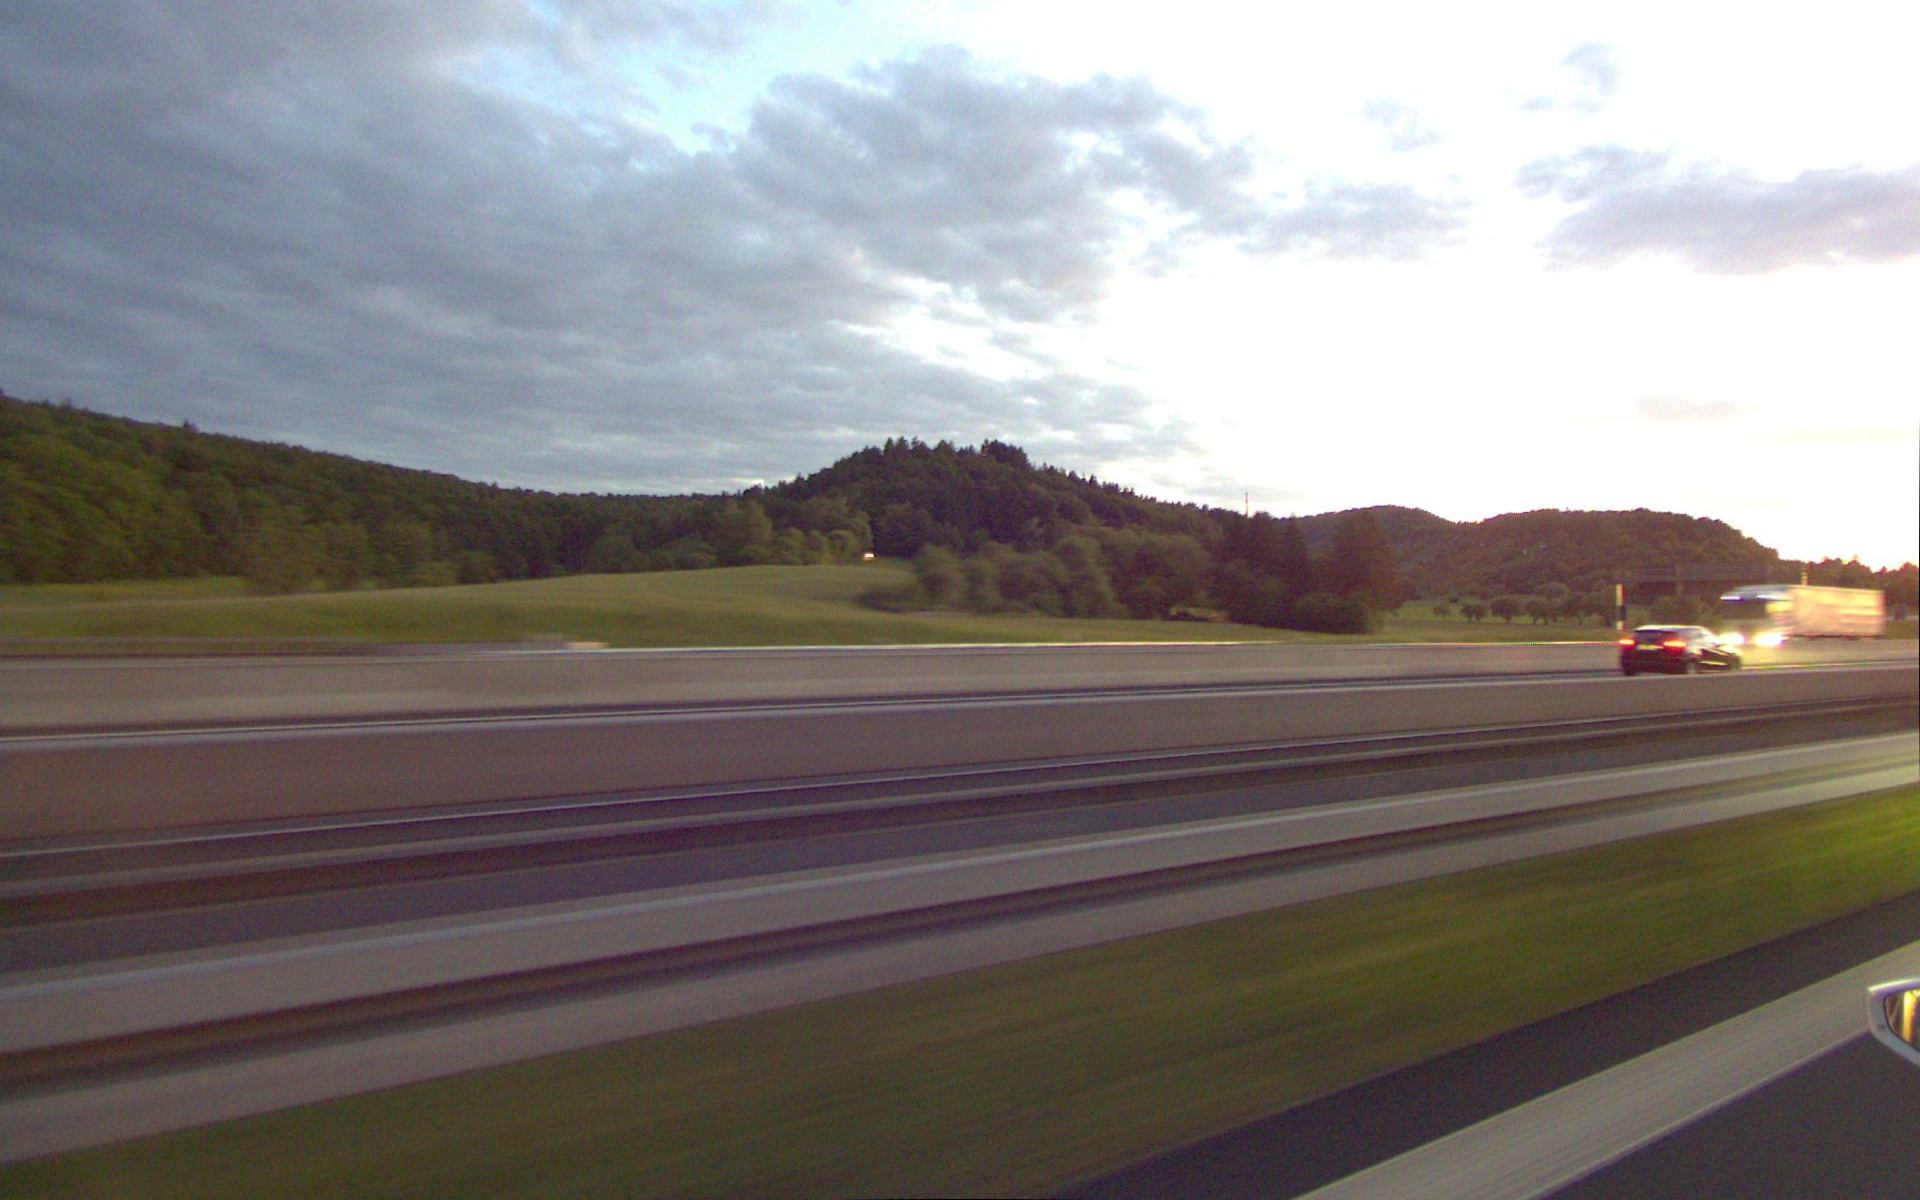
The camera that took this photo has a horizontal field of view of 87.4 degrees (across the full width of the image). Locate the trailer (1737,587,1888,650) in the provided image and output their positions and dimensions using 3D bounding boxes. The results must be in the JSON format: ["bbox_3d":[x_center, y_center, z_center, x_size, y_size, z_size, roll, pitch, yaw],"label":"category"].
[{"bbox_3d":[55.710,1.329,65.457,13.726,3.815,3.311,2,-2,-31],"label":"trailer"}]

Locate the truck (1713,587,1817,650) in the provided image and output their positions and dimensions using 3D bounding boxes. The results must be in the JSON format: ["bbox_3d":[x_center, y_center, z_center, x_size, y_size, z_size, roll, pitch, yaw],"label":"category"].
[{"bbox_3d":[49.502,1.199,61.753,5.434,3.666,3.294,2,-2,-31],"label":"truck"}]

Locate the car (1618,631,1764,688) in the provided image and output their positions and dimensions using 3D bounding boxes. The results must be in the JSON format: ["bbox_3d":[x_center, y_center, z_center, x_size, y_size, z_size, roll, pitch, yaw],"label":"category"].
[{"bbox_3d":[21.651,1.732,29.714,4.467,1.582,1.863,2,-2,-30],"label":"car"}]
